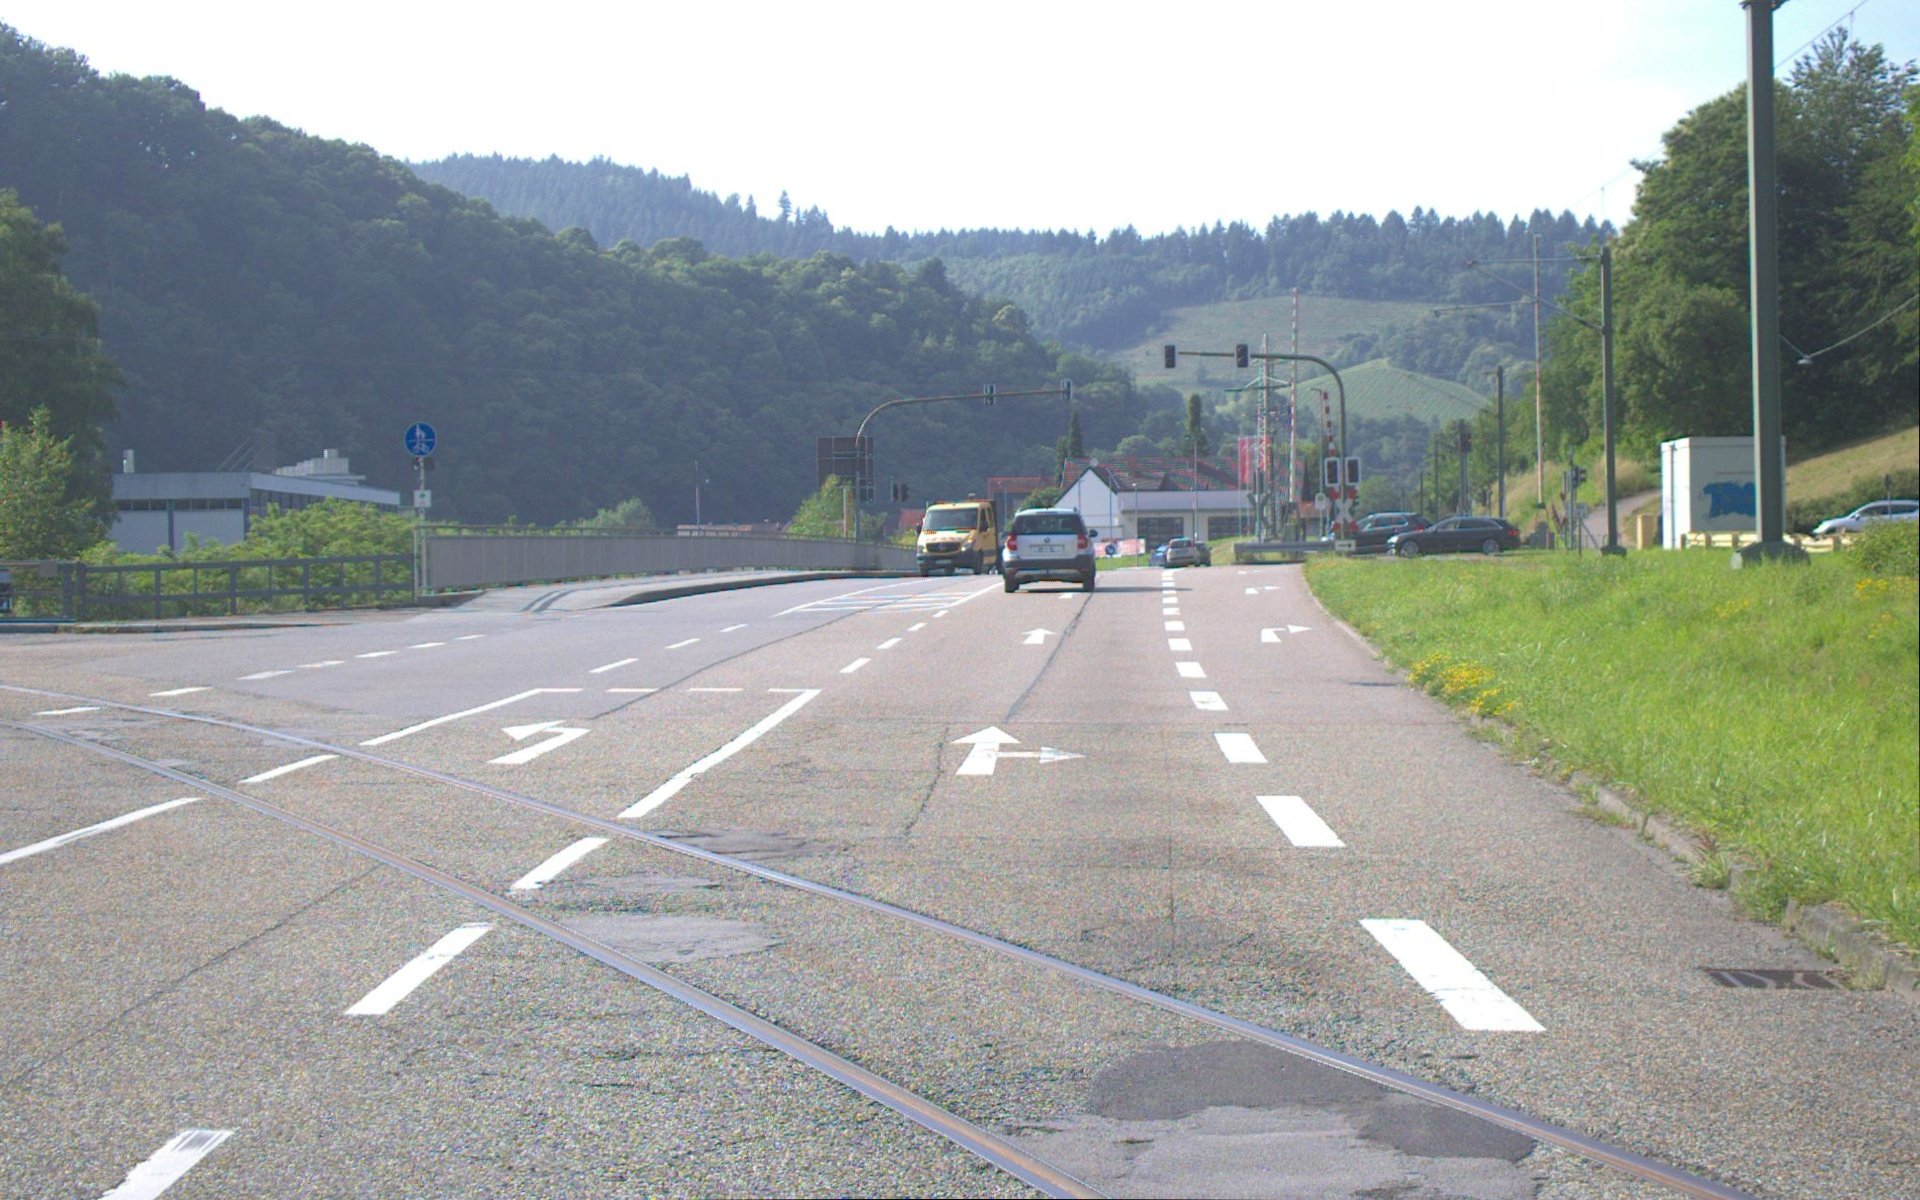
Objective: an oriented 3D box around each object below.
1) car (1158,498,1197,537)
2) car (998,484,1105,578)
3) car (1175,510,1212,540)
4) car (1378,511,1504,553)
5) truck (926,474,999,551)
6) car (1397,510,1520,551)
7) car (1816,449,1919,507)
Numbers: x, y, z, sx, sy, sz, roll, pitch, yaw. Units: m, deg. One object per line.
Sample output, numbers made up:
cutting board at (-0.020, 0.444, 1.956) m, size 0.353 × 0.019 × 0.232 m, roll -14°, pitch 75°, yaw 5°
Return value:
car at (11.700, -4.444, 185.220) m, size 1.994 × 2.006 × 4.000 m, roll -2°, pitch 2°, yaw 3°
car at (1.798, -1.375, 68.319) m, size 1.993 × 1.717 × 3.990 m, roll -3°, pitch 1°, yaw 1°
car at (13.514, -4.330, 198.934) m, size 1.994 × 1.612 × 4.000 m, roll -2°, pitch 2°, yaw 3°
car at (16.580, -2.344, 118.431) m, size 3.990 × 1.350 × 1.876 m, roll -1°, pitch 2°, yaw 18°
truck at (0.110, -2.825, 109.736) m, size 1.994 × 2.335 × 5.698 m, roll -1°, pitch 2°, yaw 3°
car at (17.520, -2.449, 120.861) m, size 3.990 × 1.350 × 1.876 m, roll -1°, pitch 2°, yaw 18°
car at (31.320, -4.168, 117.166) m, size 3.990 × 1.875 × 1.876 m, roll -1°, pitch 2°, yaw 18°
